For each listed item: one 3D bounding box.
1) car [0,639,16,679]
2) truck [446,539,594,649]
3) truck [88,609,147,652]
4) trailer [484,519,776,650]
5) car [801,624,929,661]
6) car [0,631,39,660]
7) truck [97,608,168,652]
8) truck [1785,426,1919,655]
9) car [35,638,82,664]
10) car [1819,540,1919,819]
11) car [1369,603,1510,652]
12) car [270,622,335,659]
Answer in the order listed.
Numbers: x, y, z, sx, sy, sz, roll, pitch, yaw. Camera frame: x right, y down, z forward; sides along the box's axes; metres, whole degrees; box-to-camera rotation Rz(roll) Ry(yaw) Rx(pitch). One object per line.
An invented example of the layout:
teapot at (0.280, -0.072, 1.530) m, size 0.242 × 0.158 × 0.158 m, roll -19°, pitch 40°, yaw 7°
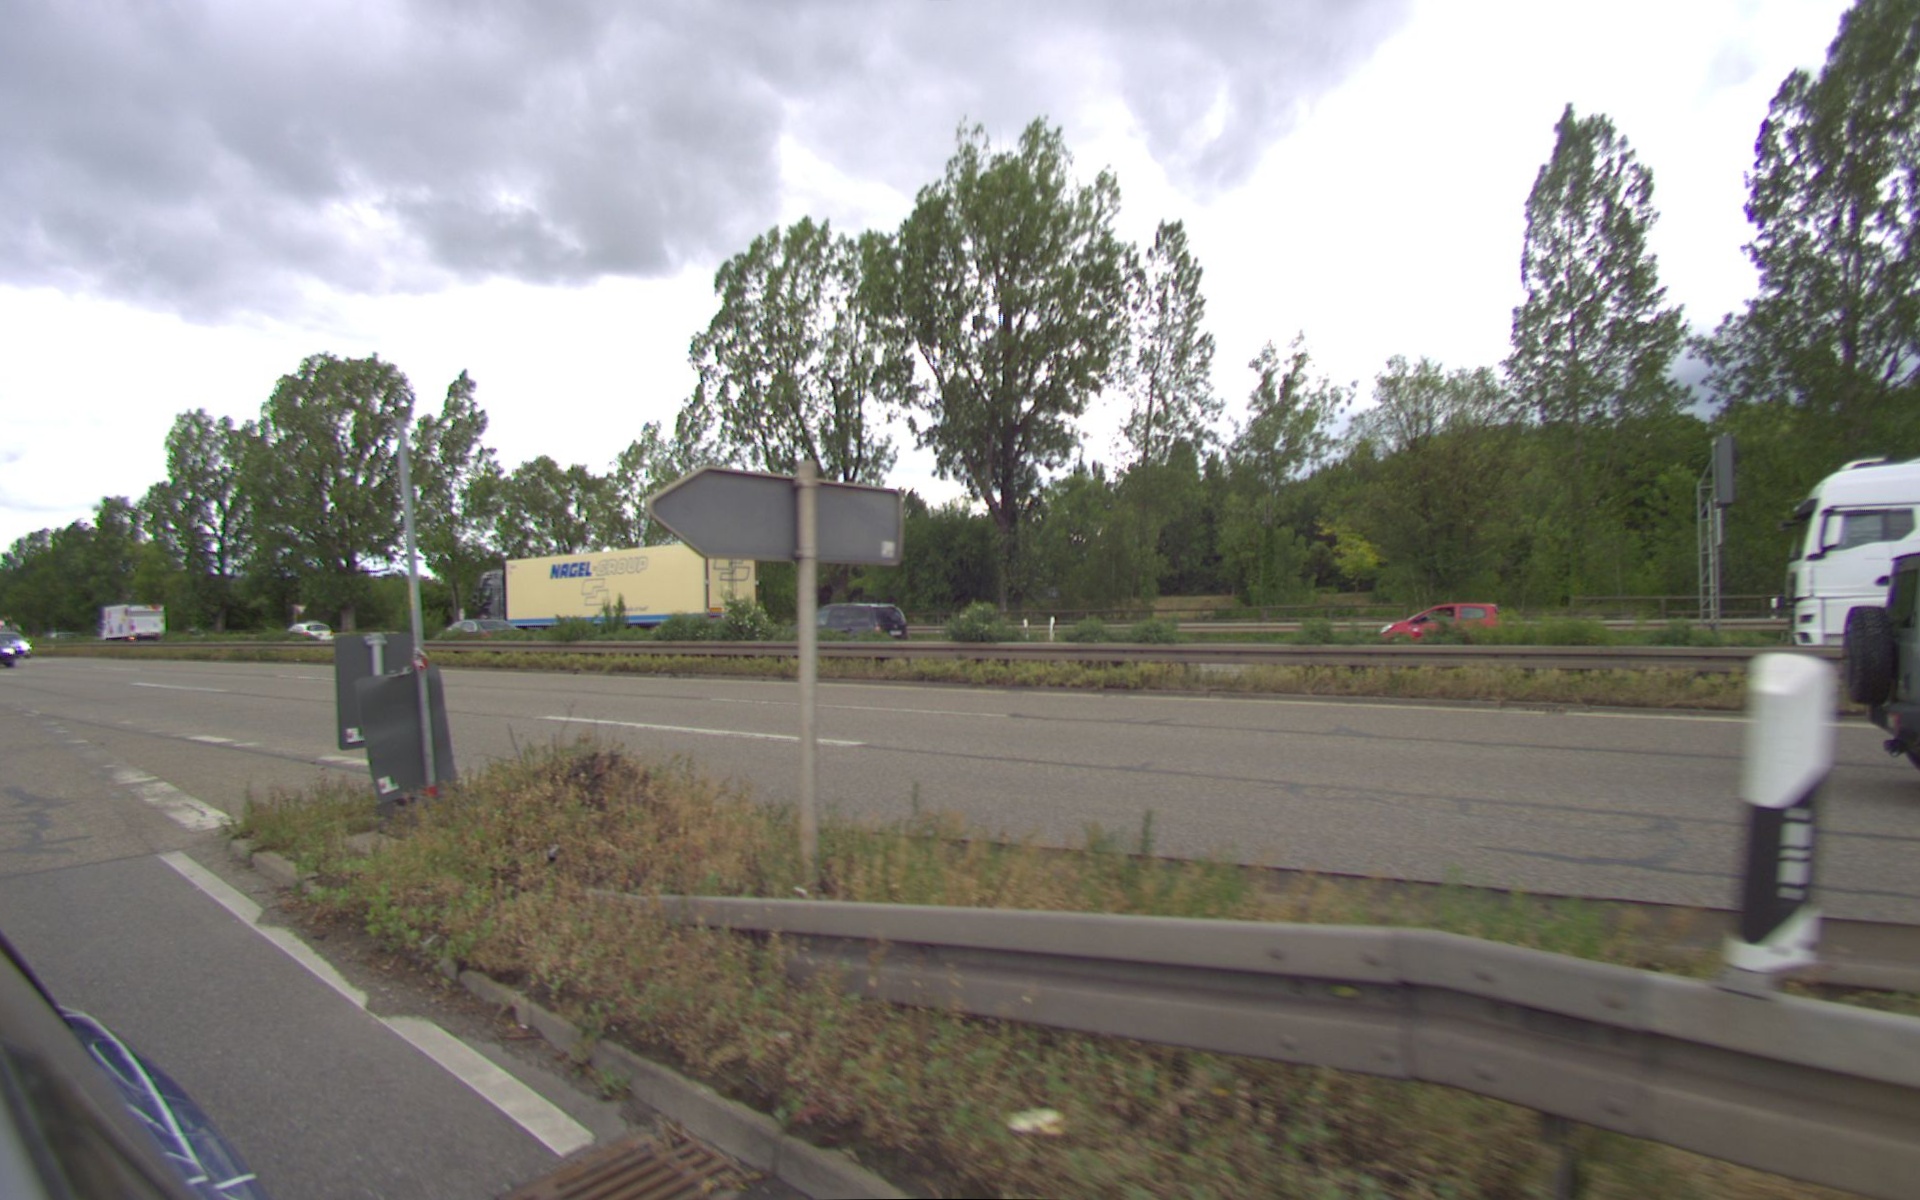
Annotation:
car at (-38.314, 2.306, 39.396) m, size 4.302 × 1.512 × 1.914 m, roll -3°, pitch -2°, yaw 42°
truck at (-20.259, -0.205, 46.507) m, size 6.198 × 4.708 × 3.433 m, roll -2°, pitch 0°, yaw 36°
truck at (-76.543, 2.797, 91.979) m, size 3.988 × 3.670 × 2.961 m, roll -2°, pitch 1°, yaw 33°
trailer at (-14.136, -0.410, 42.069) m, size 14.751 × 4.708 × 3.433 m, roll -2°, pitch 0°, yaw 36°
car at (-2.824, 1.256, 29.727) m, size 3.610 × 0.939 × 1.636 m, roll -3°, pitch -2°, yaw 38°
car at (-51.692, 2.471, 54.826) m, size 3.991 × 1.511 × 1.838 m, roll -2°, pitch -1°, yaw 36°
truck at (-73.642, 2.684, 90.048) m, size 6.319 × 3.670 × 2.959 m, roll -2°, pitch 1°, yaw 33°
truck at (18.299, -1.092, 18.000) m, size 5.299 × 3.966 × 2.767 m, roll -1°, pitch 1°, yaw 34°
car at (-75.700, 4.269, 84.956) m, size 3.989 × 2.028 × 1.978 m, roll -2°, pitch 1°, yaw 34°
car at (7.868, 0.462, 6.046) m, size 3.990 × 1.749 × 1.666 m, roll -2°, pitch -1°, yaw 36°
car at (14.418, 0.832, 30.507) m, size 3.607 × 1.371 × 1.638 m, roll -2°, pitch -1°, yaw 35°
car at (-34.687, 2.139, 53.395) m, size 3.565 × 1.821 × 1.763 m, roll -2°, pitch -1°, yaw 37°
